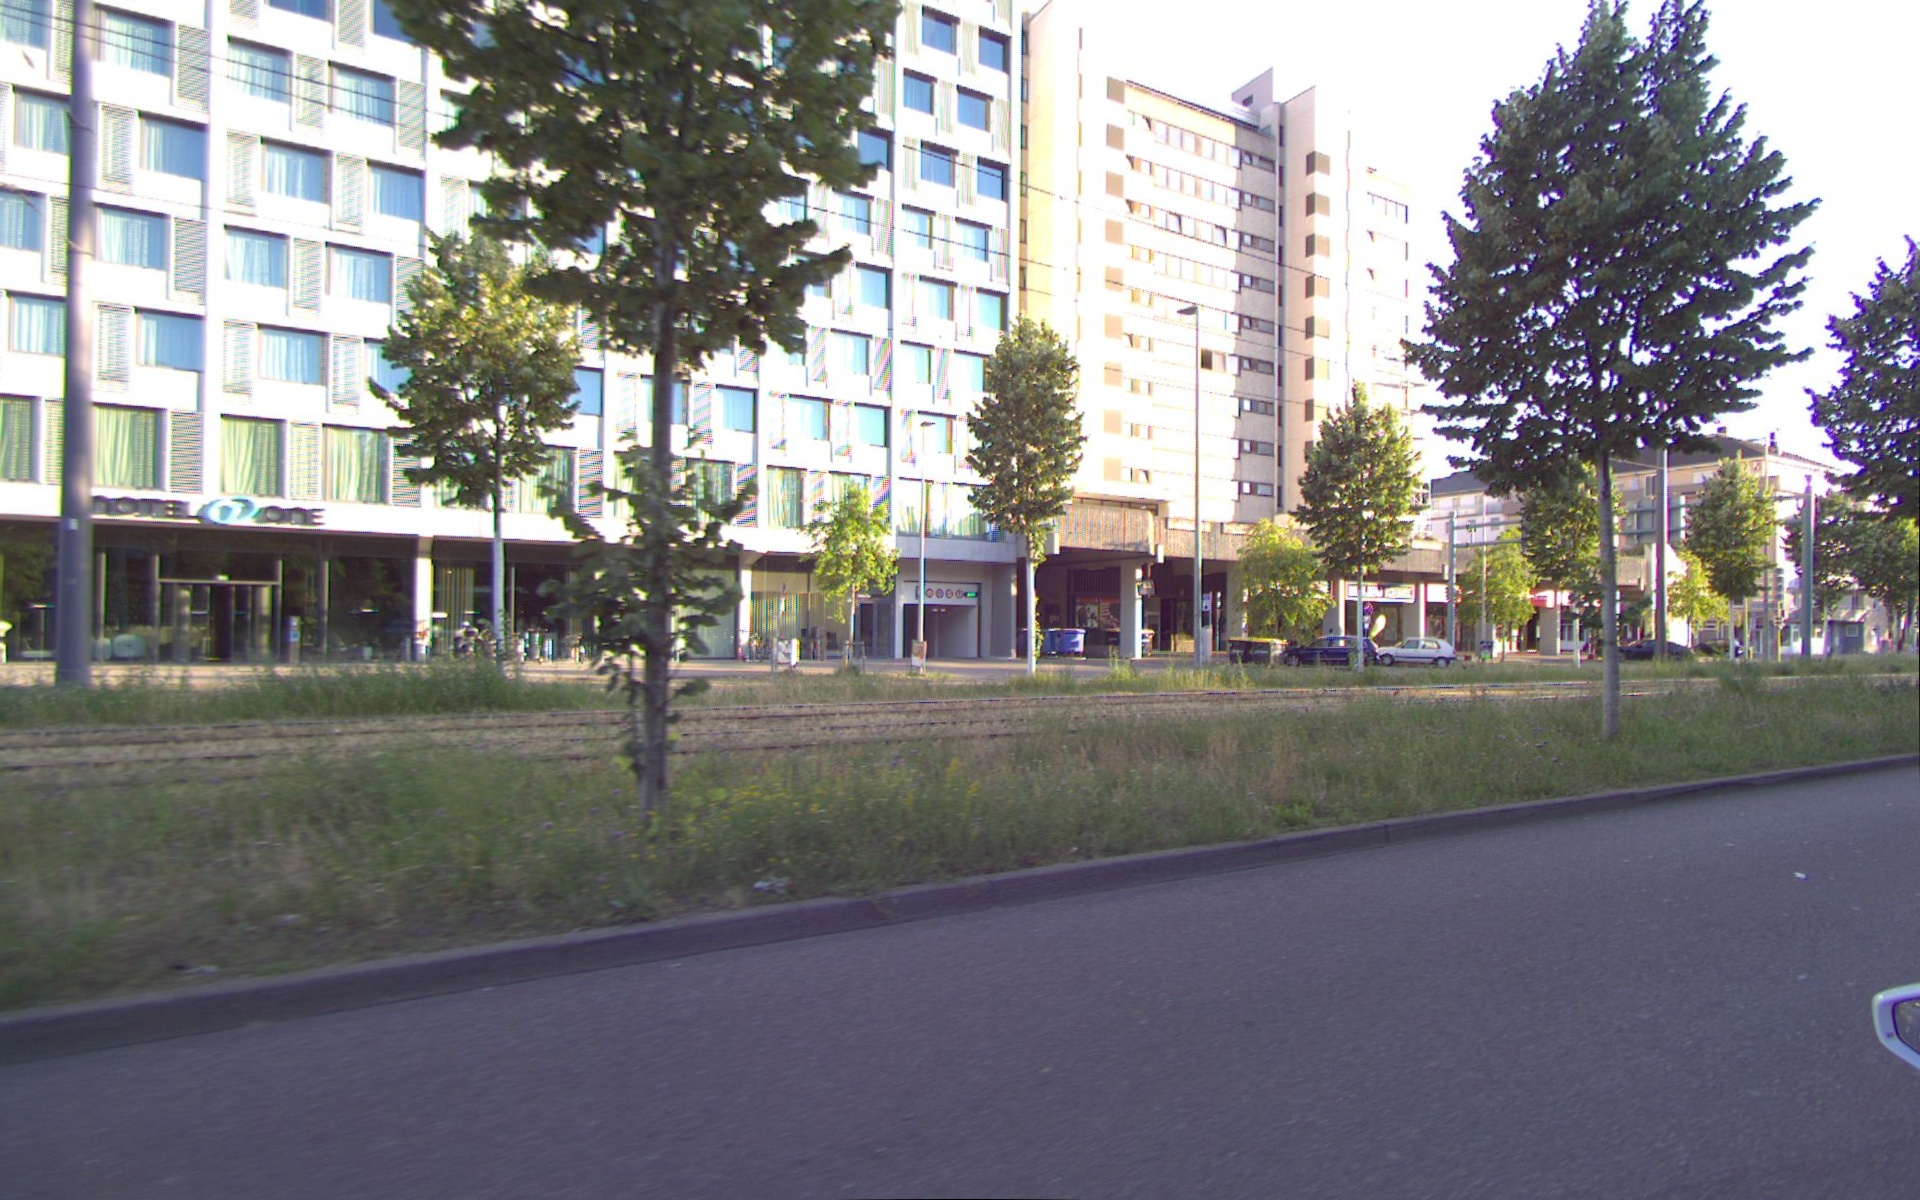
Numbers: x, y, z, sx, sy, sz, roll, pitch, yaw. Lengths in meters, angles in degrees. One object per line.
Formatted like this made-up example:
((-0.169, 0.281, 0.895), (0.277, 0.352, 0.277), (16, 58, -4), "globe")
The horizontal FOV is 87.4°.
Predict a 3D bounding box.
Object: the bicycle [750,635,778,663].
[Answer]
((-7.574, 1.869, 38.730), (0.417, 1.033, 1.777), (1, -2, -33), "bicycle")

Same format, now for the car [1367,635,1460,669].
((22.372, 2.551, 49.732), (4.051, 1.455, 1.825), (2, -1, 22), "car")

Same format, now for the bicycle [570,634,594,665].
((-13.404, 1.744, 35.579), (0.417, 1.033, 1.732), (1, -2, -33), "bicycle")

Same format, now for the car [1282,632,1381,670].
((17.076, 2.311, 46.295), (4.201, 1.611, 2.009), (0, -1, 21), "car")

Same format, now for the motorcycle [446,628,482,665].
((-16.746, 1.552, 33.913), (0.512, 1.187, 1.873), (2, -1, -44), "motorcycle")

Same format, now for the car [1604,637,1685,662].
((41.066, 2.973, 60.309), (3.656, 1.469, 1.745), (0, -3, 18), "car")

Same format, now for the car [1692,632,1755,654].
((66.758, 3.734, 87.907), (2.166, 1.870, 3.915), (1, -2, -30), "car")

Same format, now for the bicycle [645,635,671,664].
((-11.145, 1.811, 37.039), (0.417, 1.033, 1.777), (1, -2, -33), "bicycle")
